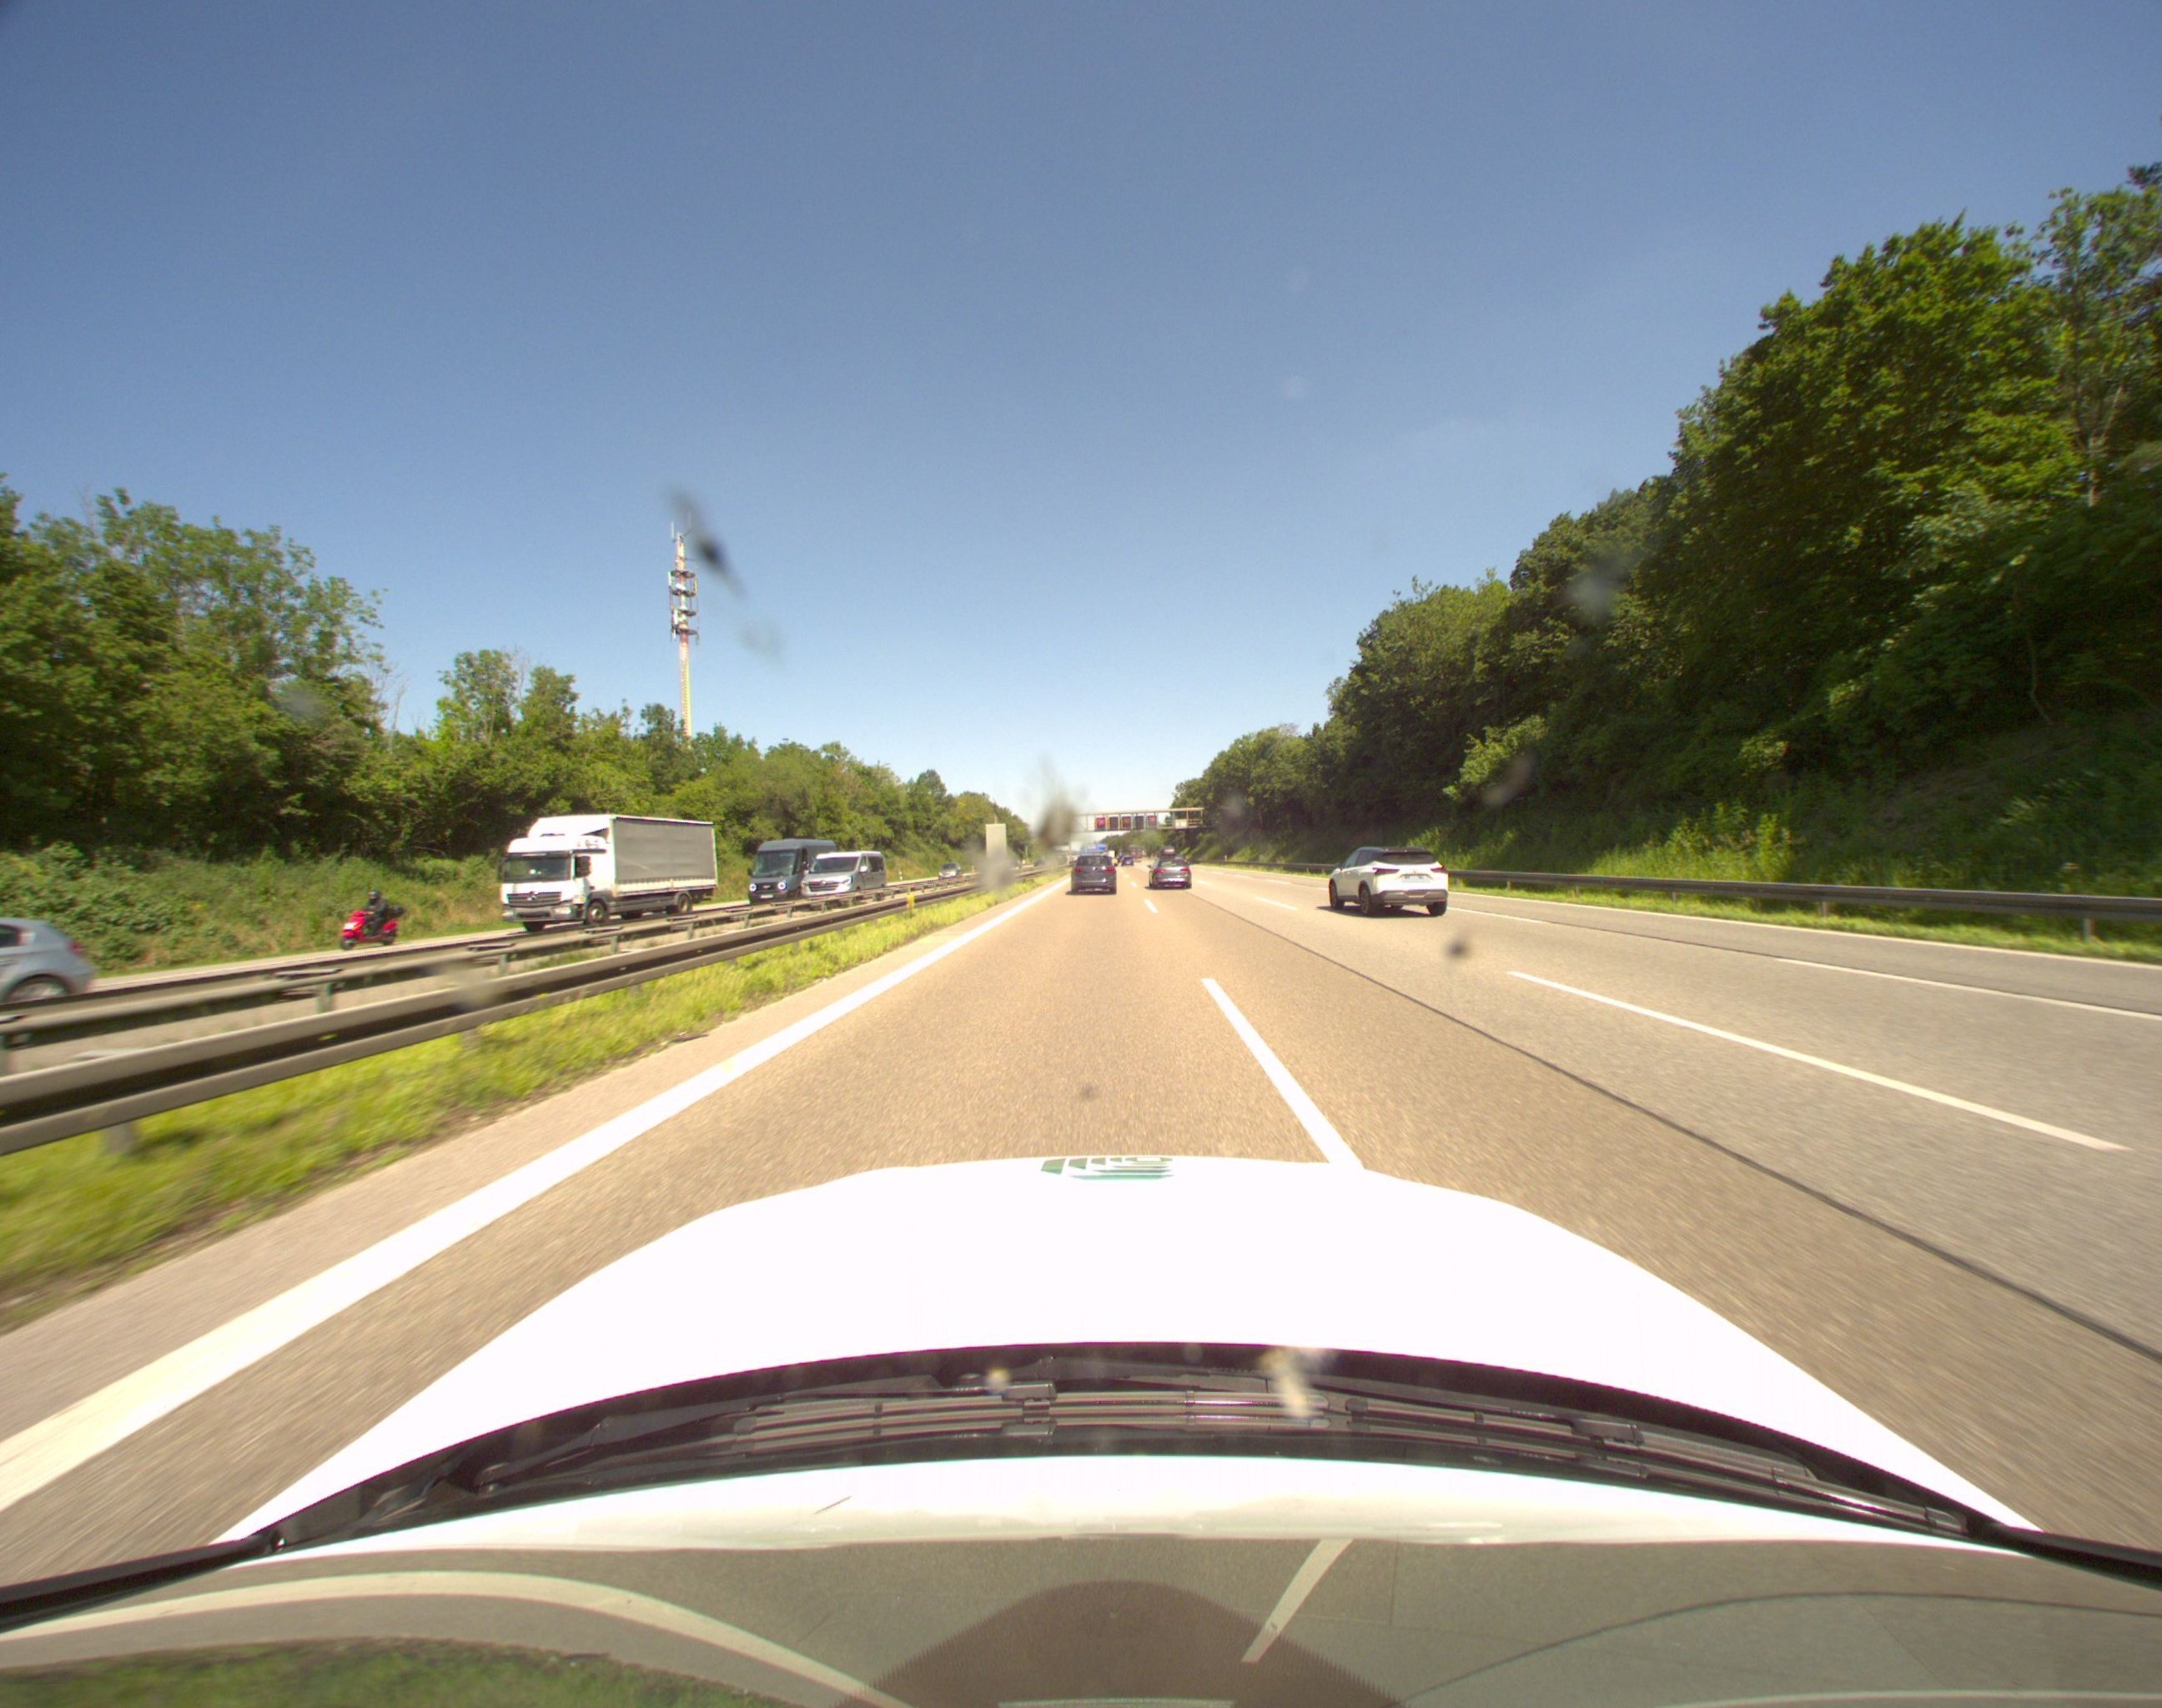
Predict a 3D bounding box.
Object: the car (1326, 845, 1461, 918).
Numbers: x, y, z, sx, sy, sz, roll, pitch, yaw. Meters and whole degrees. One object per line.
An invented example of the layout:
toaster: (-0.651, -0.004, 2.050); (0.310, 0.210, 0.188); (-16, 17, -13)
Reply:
car: (7.425, 0.612, 19.779); (1.836, 1.568, 4.037); (-1, 0, 2)

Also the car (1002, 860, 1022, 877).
car: (-6.769, 1.432, 80.101); (1.428, 1.528, 3.458); (-2, 0, 2)

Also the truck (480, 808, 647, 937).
truck: (-17.092, 0.576, 27.204); (2.693, 3.809, 4.001); (-4, 0, 2)

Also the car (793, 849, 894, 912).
car: (-8.645, 0.895, 30.202); (1.921, 1.981, 5.237); (-5, 0, 2)

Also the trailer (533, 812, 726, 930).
trailer: (-16.967, 0.592, 31.406); (2.702, 3.809, 7.695); (-4, 0, 2)

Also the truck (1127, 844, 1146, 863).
truck: (13.200, -0.123, 195.189); (3.767, 4.422, 14.051); (-1, 0, 1)

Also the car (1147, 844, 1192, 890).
car: (4.005, 0.560, 37.536); (1.659, 1.876, 4.830); (-3, 0, 2)

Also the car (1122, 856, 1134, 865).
car: (6.920, 0.965, 120.748); (1.757, 1.381, 4.262); (0, 0, 3)

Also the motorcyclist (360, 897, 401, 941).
motorcyclist: (-20.446, 1.893, 23.777); (0.546, 1.219, 0.682); (-2, 0, 2)

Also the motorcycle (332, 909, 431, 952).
motorcycle: (-20.437, 2.214, 23.878); (0.822, 0.971, 2.278); (-5, 0, 2)

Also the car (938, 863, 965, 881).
car: (-11.442, 1.561, 72.165); (1.668, 1.496, 3.546); (-2, 0, 1)

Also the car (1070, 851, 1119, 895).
car: (0.606, 0.737, 33.325); (1.791, 1.669, 4.262); (0, 0, 3)

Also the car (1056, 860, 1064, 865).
car: (-4.725, 1.890, 182.043); (1.474, 1.210, 3.458); (-2, 0, 2)

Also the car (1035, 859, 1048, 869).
car: (-6.232, 1.581, 129.781); (1.707, 1.398, 4.151); (-3, 0, 2)

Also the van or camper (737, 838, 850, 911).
van or camper: (-12.580, 0.824, 36.297); (2.189, 2.811, 6.801); (-4, 0, 2)

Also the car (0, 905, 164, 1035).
car: (-13.460, 1.435, 8.872); (1.707, 1.418, 4.506); (-2, 0, 2)

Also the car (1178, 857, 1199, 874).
car: (10.477, 1.092, 79.688); (1.757, 1.568, 4.262); (0, 0, 3)

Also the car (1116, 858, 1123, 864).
car: (8.031, 1.459, 170.907); (1.466, 1.398, 3.410); (1, 0, 1)
